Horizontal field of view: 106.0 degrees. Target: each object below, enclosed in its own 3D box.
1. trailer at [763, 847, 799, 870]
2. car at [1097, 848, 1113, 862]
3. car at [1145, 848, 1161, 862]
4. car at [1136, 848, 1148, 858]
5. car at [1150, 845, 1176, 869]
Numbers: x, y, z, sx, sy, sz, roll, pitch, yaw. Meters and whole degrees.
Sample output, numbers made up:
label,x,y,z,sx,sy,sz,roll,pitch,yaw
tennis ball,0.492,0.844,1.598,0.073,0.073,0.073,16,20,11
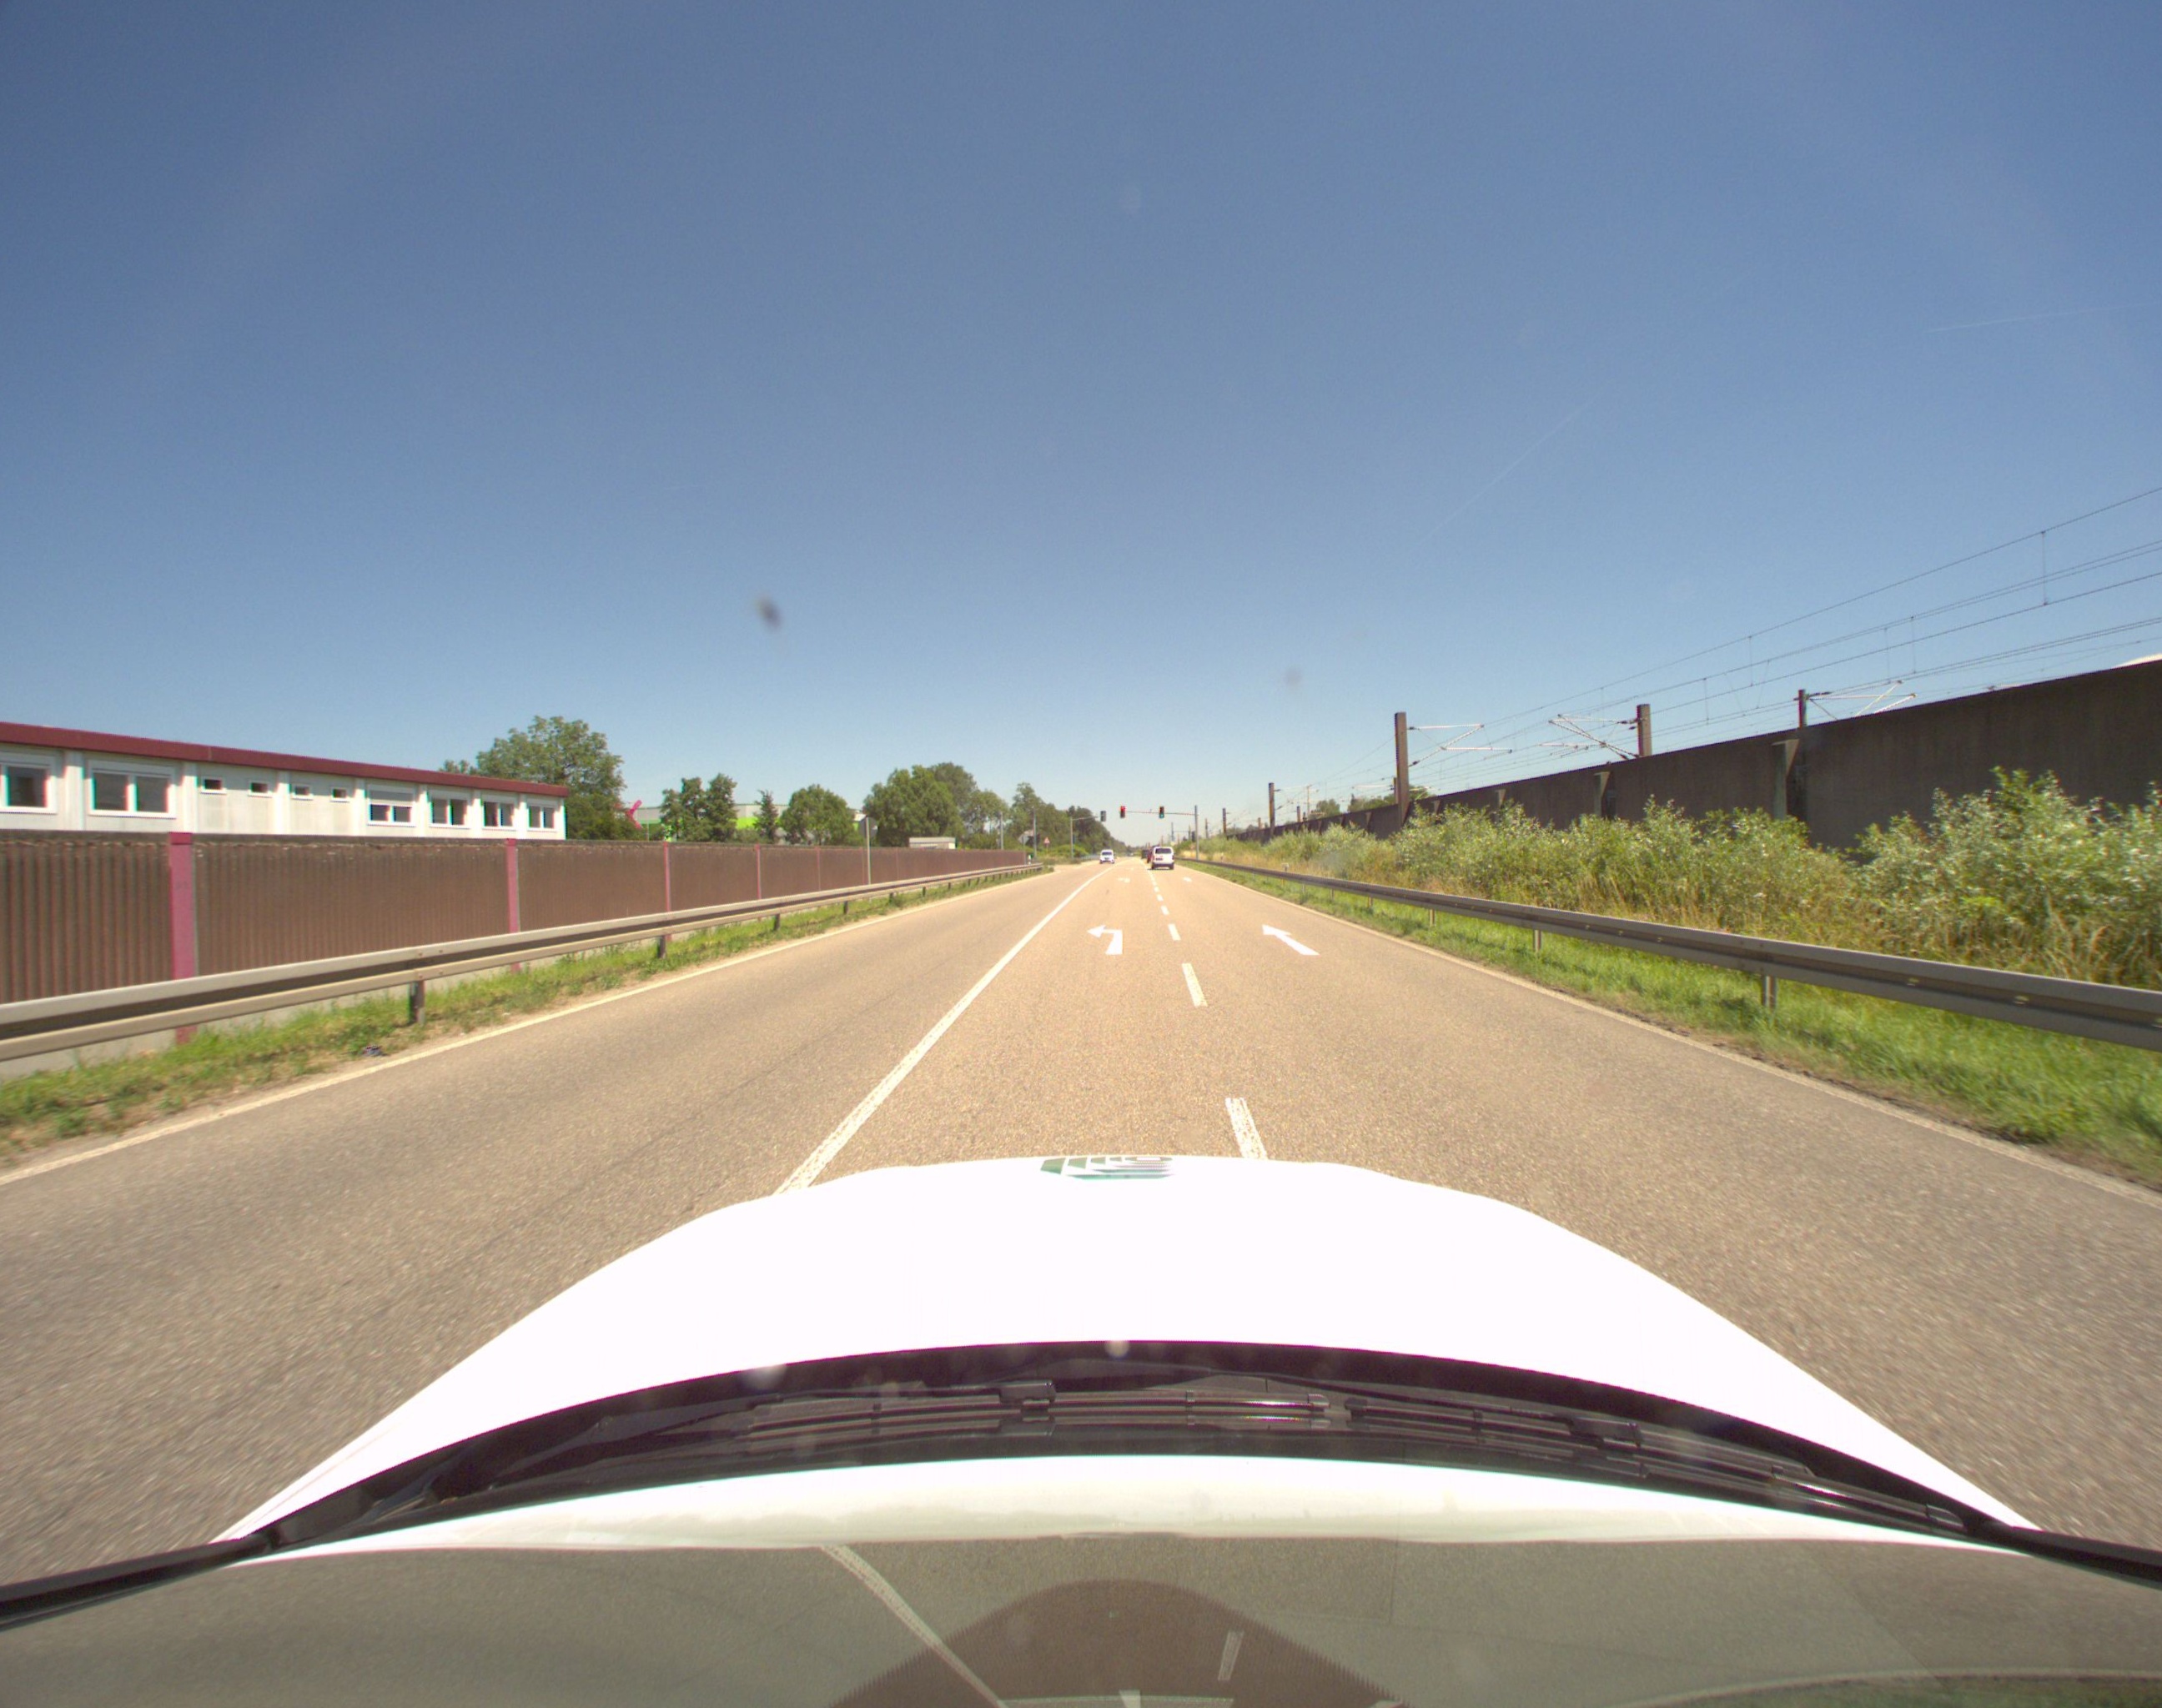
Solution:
label,x,y,z,sx,sy,sz,roll,pitch,yaw
trailer,-37.181,0.585,100.891,3.779,2.764,1.804,-1,0,-42
car,3.135,0.076,106.807,1.881,1.740,4.776,0,0,0
car,9.620,0.139,109.199,2.012,1.726,4.545,-1,0,2
car,12.157,-0.205,162.478,2.146,1.968,4.545,-1,0,2
car,7.005,0.216,69.751,1.985,1.983,4.063,0,0,3
